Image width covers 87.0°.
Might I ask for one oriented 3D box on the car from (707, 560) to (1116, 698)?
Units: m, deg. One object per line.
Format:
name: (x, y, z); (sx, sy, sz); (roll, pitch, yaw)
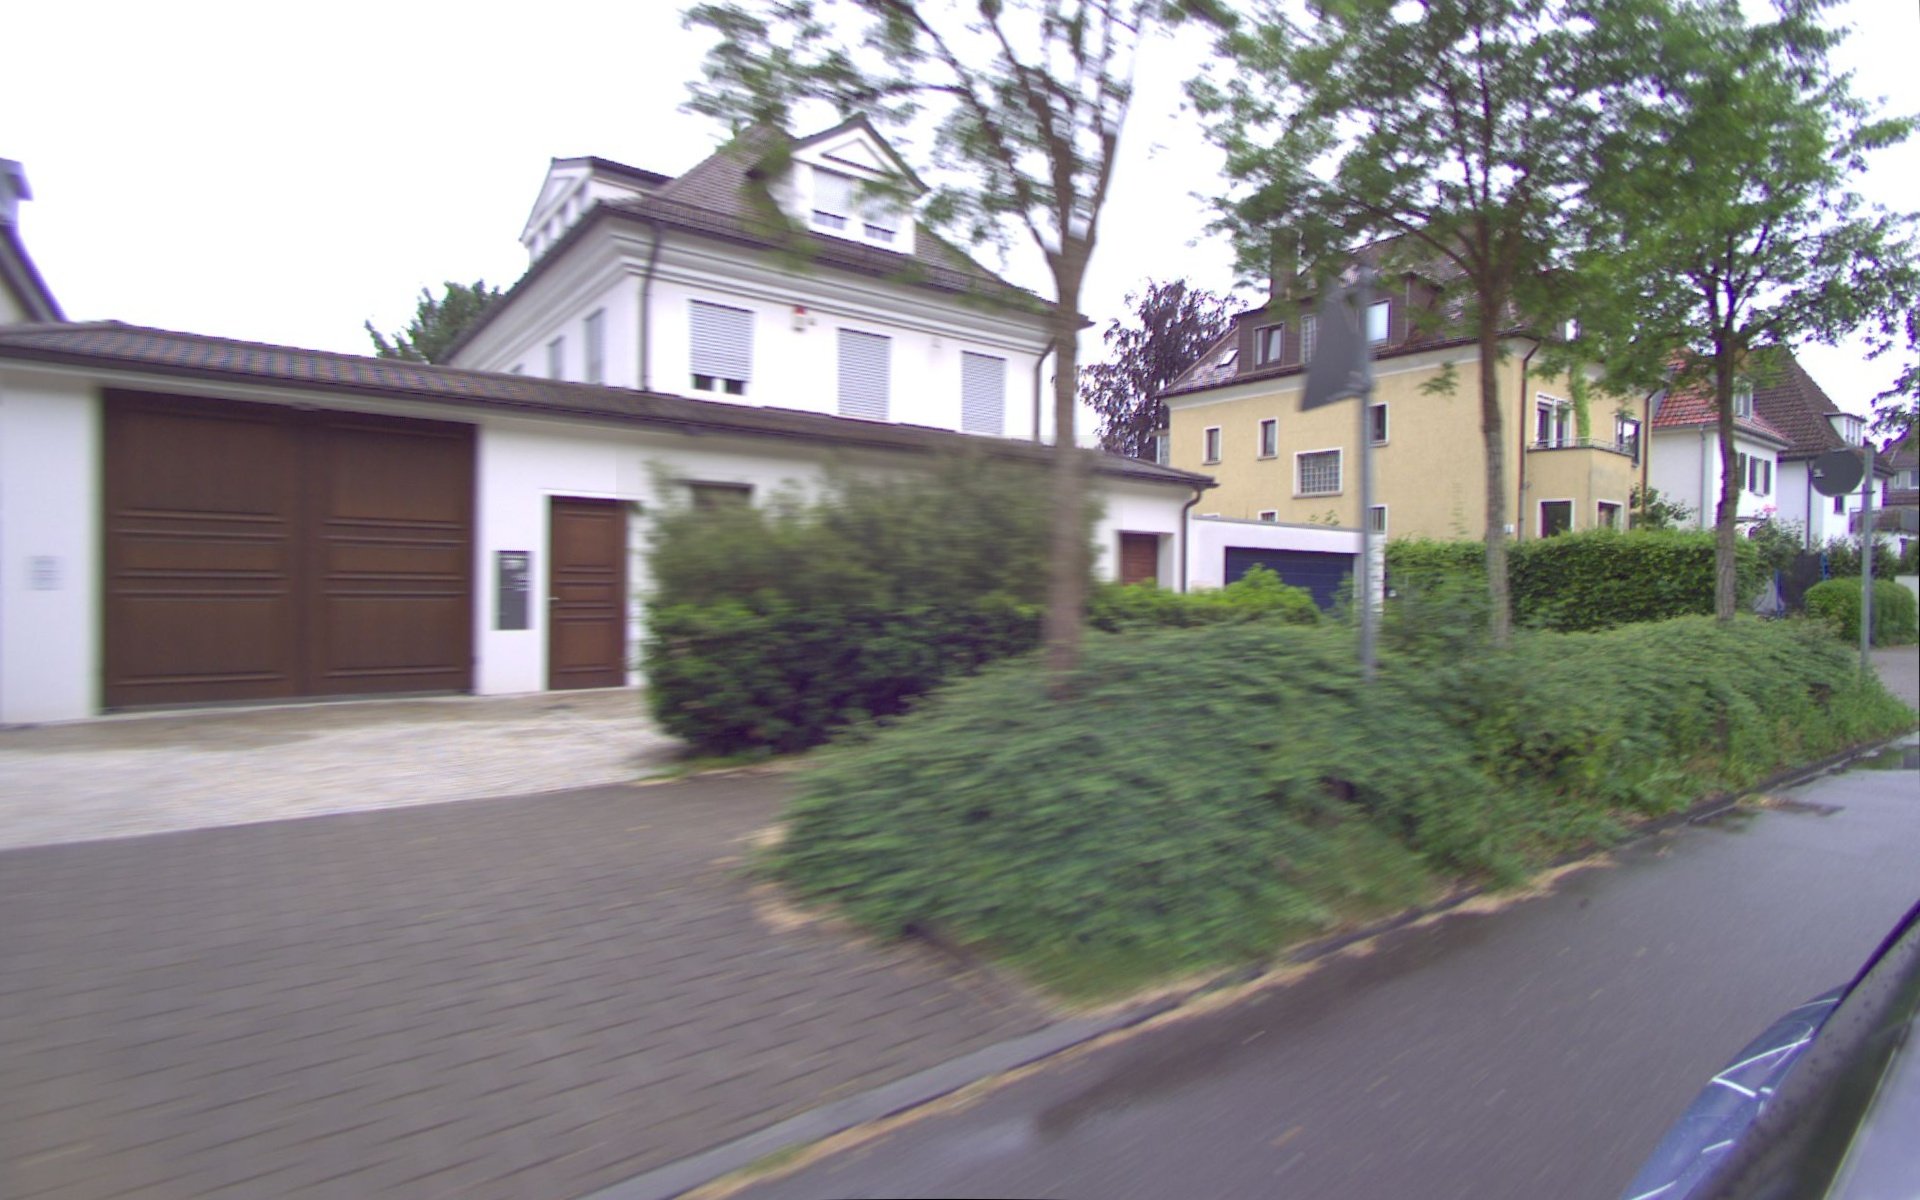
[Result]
car: (-0.443, 0.250, 10.635); (3.923, 1.191, 1.838); (0, 0, -34)
